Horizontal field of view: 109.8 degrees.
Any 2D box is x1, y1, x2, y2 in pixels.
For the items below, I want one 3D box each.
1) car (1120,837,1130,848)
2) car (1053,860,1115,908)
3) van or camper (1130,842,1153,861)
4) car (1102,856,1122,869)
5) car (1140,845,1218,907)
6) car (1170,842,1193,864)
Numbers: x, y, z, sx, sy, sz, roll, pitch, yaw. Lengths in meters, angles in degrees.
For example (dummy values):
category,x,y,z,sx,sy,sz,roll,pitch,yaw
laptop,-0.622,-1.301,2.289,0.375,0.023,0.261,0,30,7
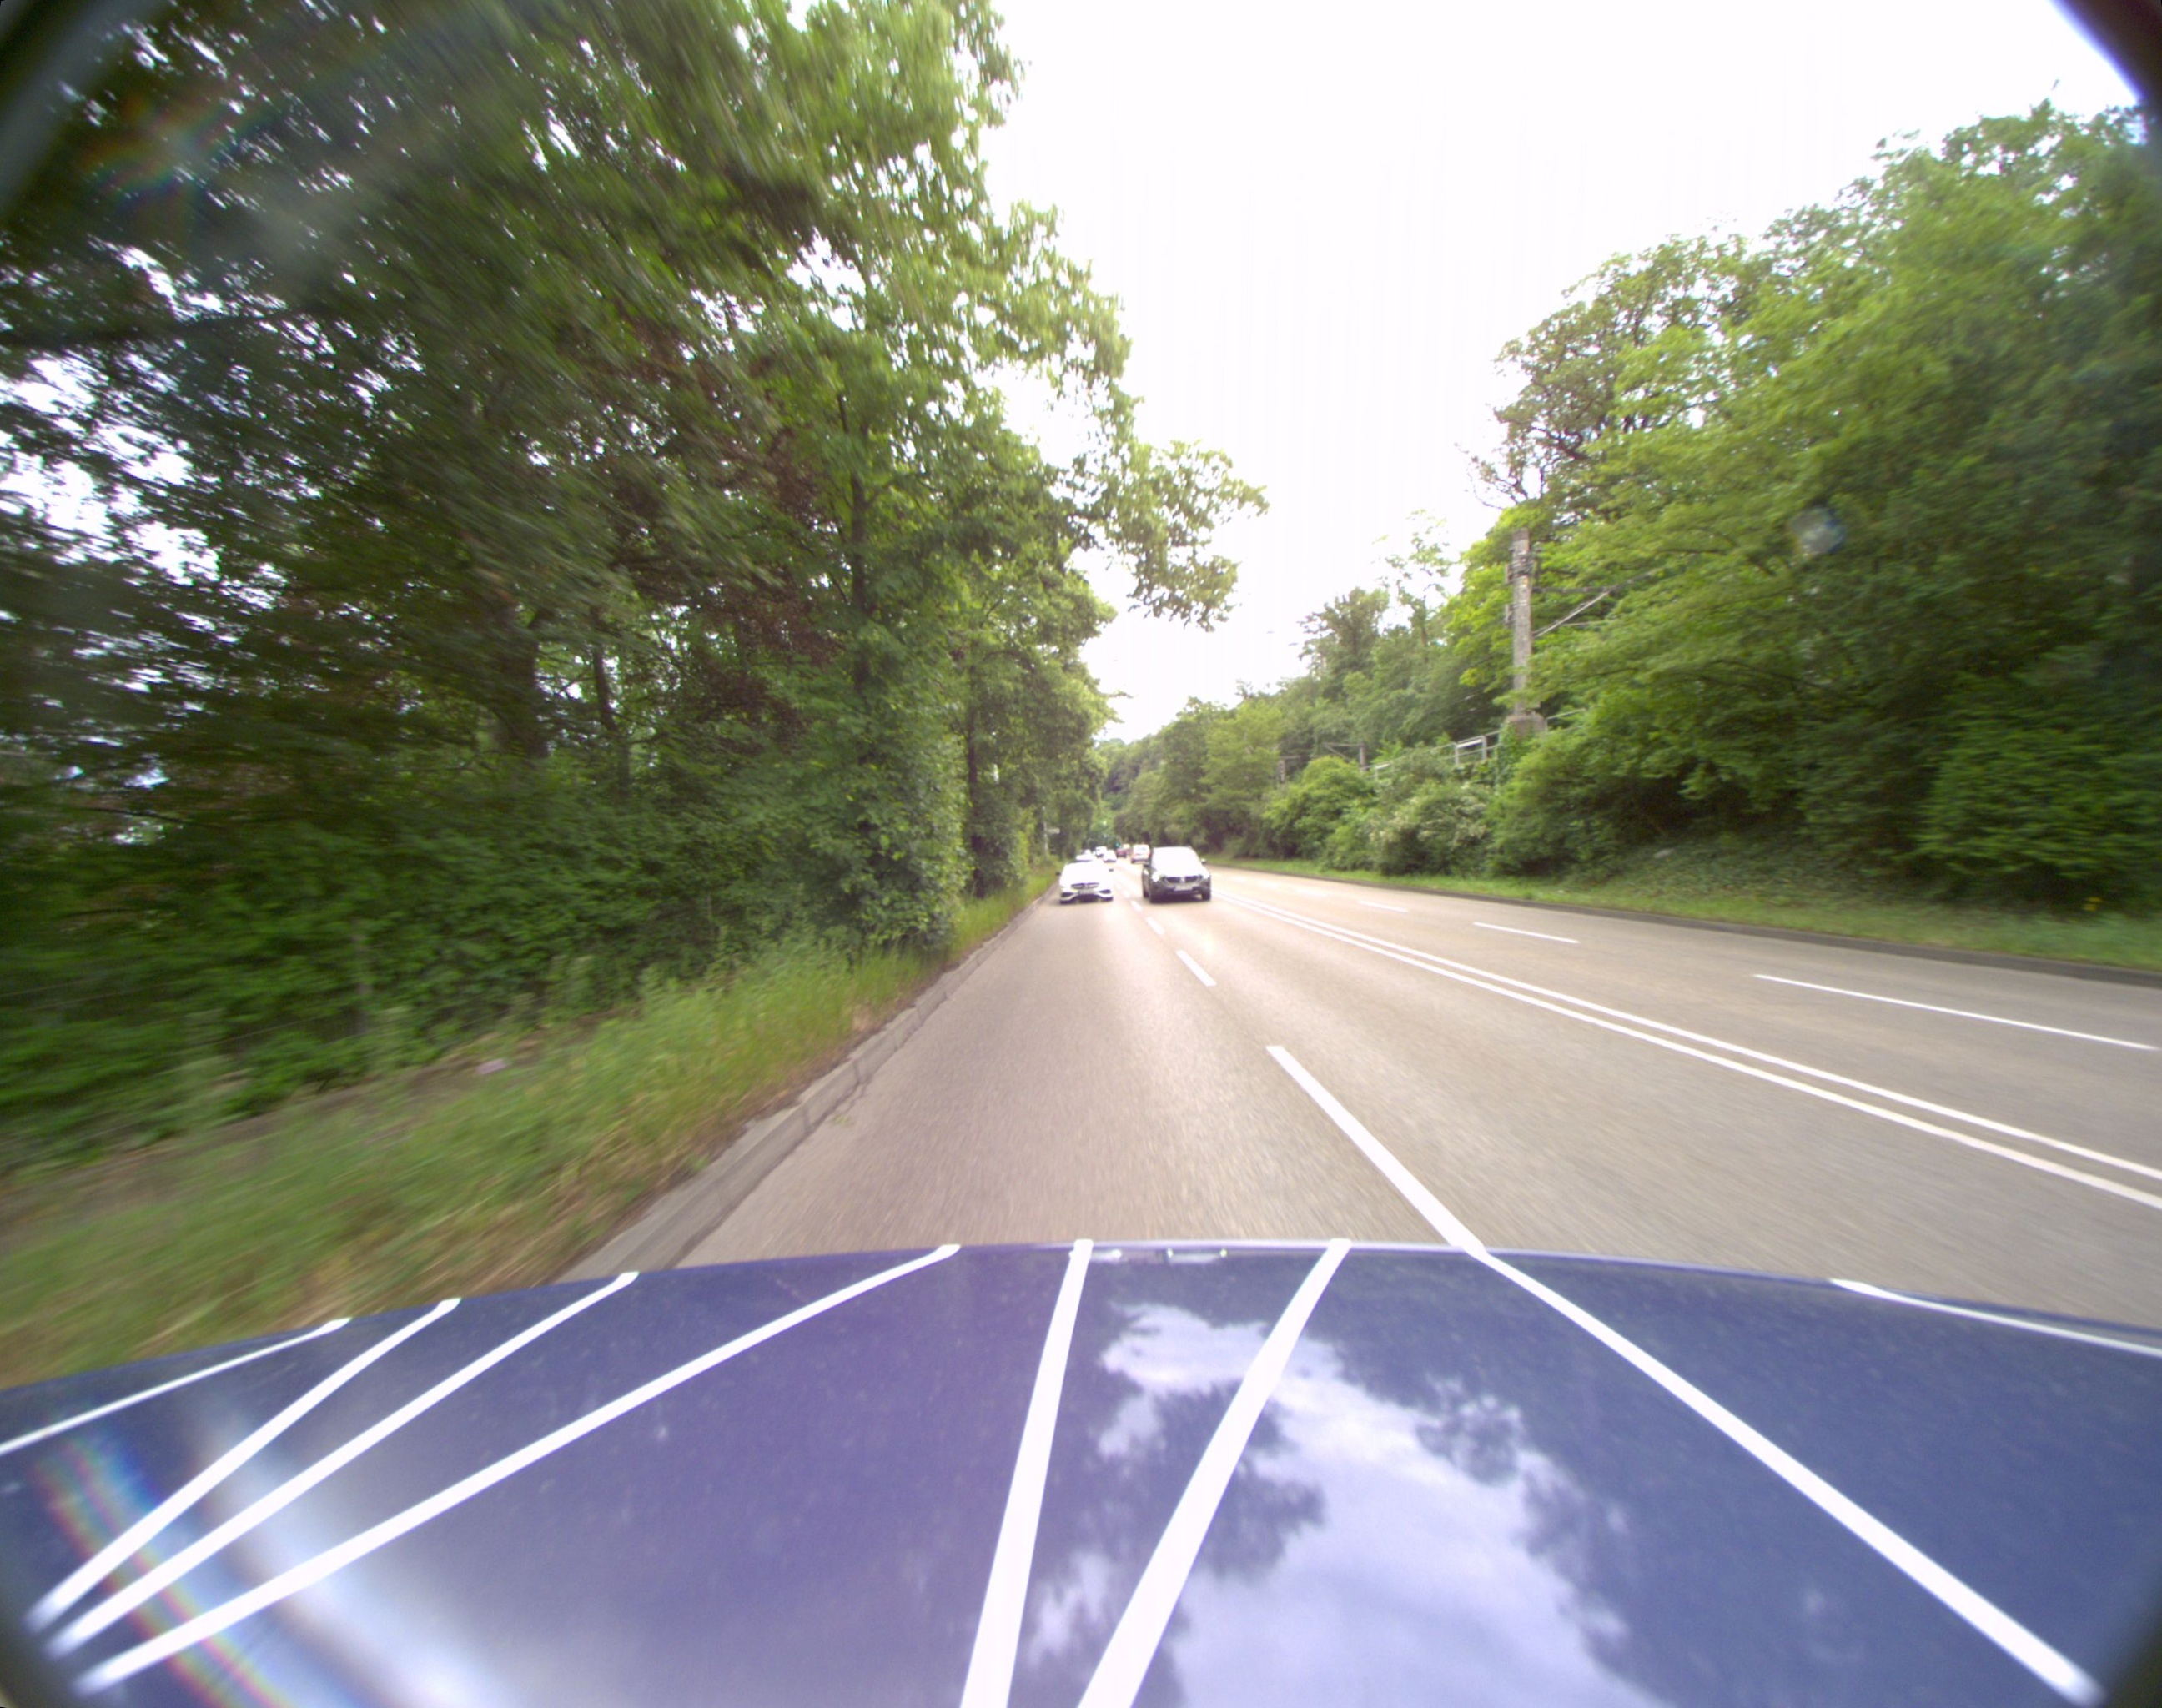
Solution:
category,x,y,z,sx,sy,sz,roll,pitch,yaw
car,9.904,-2.617,170.587,1.892,2.541,4.914,-1,1,1
car,0.115,0.972,26.568,1.897,1.289,4.327,-4,1,0
van or camper,6.642,-0.297,83.973,1.999,2.002,5.366,1,1,-2
car,3.980,1.080,98.606,1.699,1.573,3.996,-5,1,-11
car,3.005,0.613,24.155,1.871,1.653,4.192,-4,1,0
car,9.862,-0.120,74.566,1.740,1.589,4.062,-1,8,0
